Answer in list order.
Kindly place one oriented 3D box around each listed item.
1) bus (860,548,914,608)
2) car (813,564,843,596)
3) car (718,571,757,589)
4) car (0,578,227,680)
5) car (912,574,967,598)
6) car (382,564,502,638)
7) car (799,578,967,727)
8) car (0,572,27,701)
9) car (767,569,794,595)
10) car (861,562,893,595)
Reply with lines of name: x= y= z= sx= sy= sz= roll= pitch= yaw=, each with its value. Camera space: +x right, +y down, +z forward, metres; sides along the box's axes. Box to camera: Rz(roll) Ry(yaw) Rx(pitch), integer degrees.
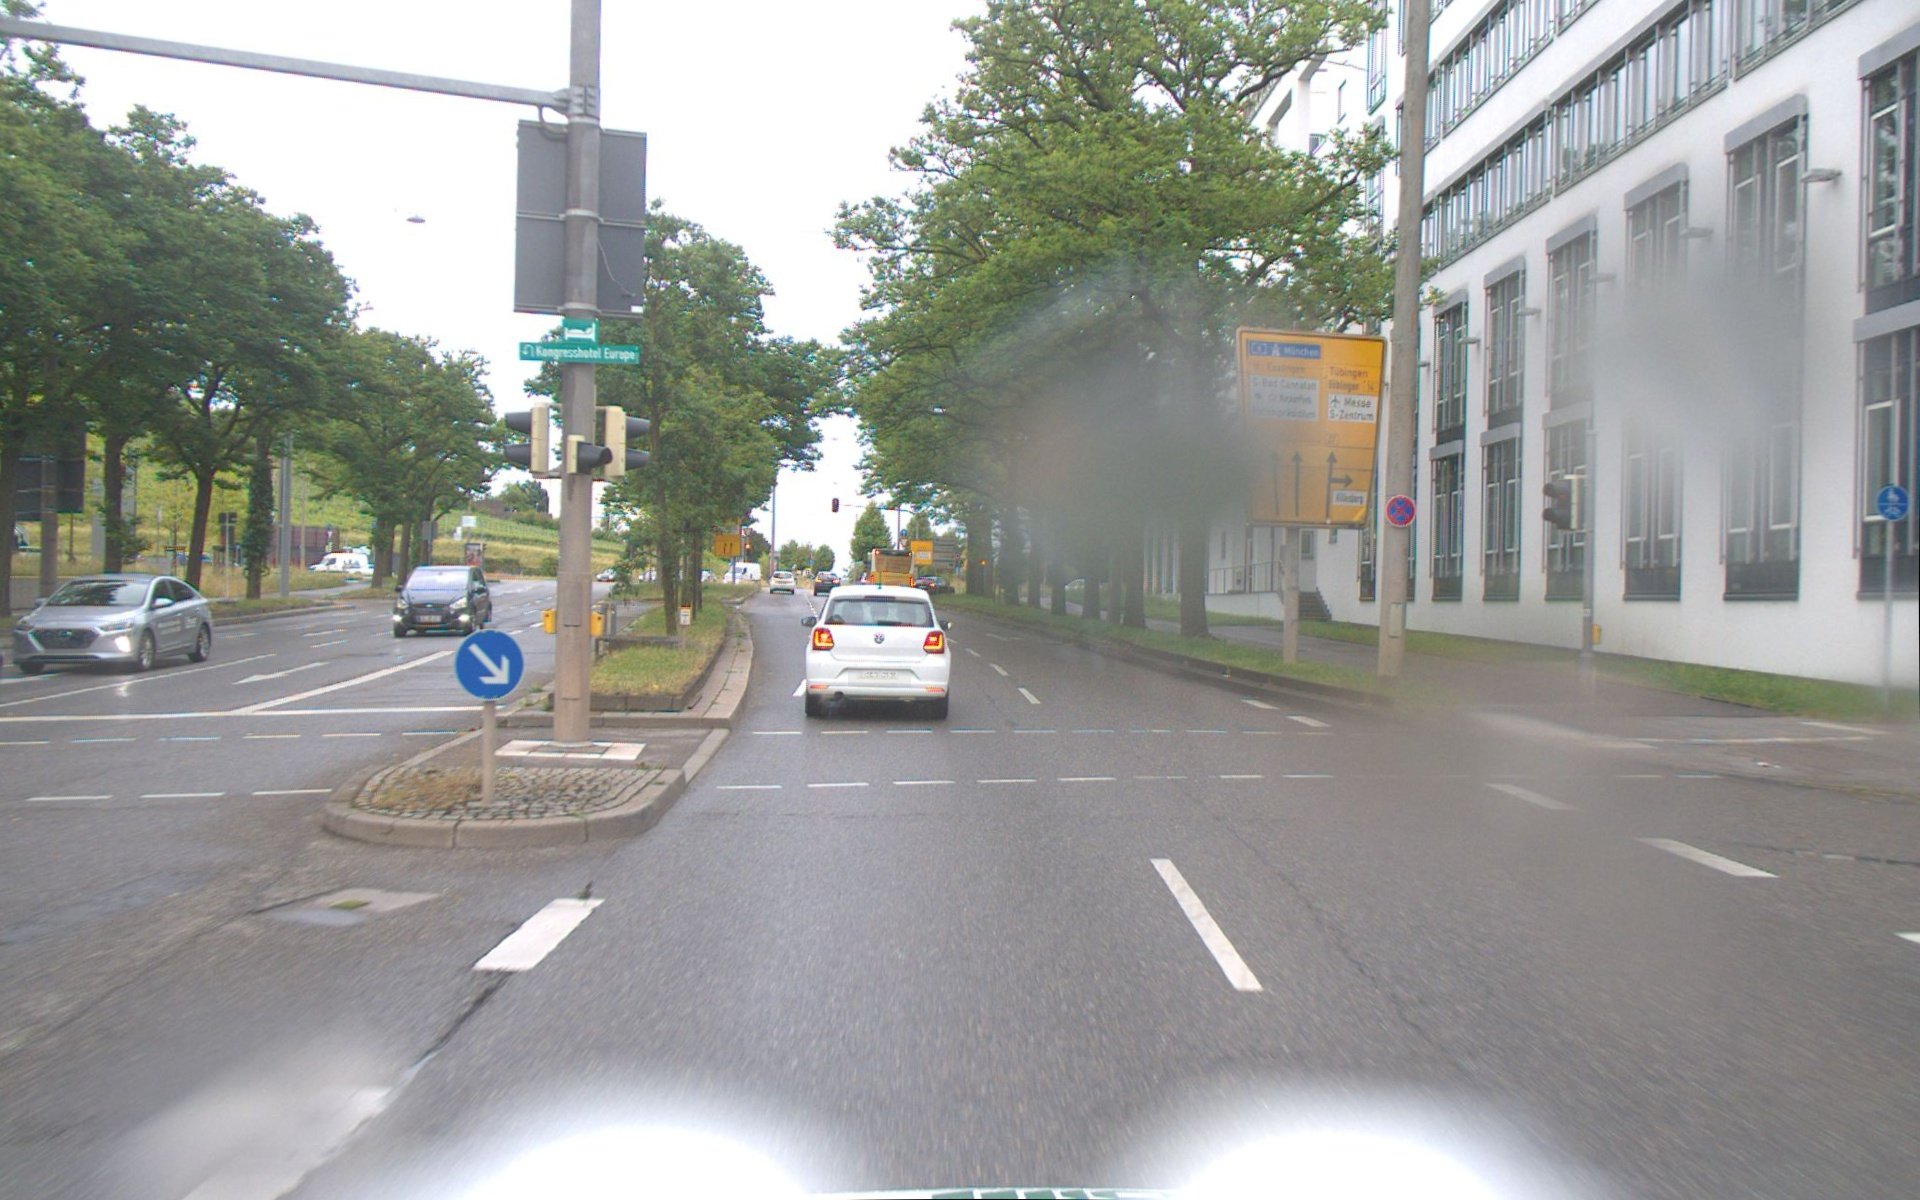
bus: x=-4.462 y=-1.326 z=99.057 sx=2.773 sy=3.323 sz=9.991 roll=2 pitch=1 yaw=-5
car: x=-8.883 y=-1.322 z=111.392 sx=1.954 sy=2.049 sz=3.996 roll=1 pitch=0 yaw=-5
car: x=-25.632 y=-2.335 z=190.850 sx=1.953 sy=2.049 sz=5.710 roll=1 pitch=1 yaw=22
car: x=-13.205 y=0.387 z=26.026 sx=1.780 sy=1.436 sz=4.648 roll=-1 pitch=1 yaw=-7
car: x=-1.383 y=-0.938 z=111.533 sx=1.669 sy=1.542 sz=3.807 roll=0 pitch=0 yaw=40
car: x=-12.455 y=-0.025 z=40.089 sx=1.956 sy=1.644 sz=5.111 roll=-1 pitch=1 yaw=-8
car: x=-0.949 y=0.543 z=19.819 sx=1.759 sy=1.528 sz=3.997 roll=2 pitch=1 yaw=-4
car: x=-12.223 y=0.455 z=18.581 sx=1.717 sy=1.547 sz=3.811 roll=0 pitch=1 yaw=-8
car: x=-12.214 y=-1.223 z=112.857 sx=1.759 sy=1.772 sz=3.995 roll=0 pitch=0 yaw=-6
car: x=-5.371 y=-1.374 z=106.831 sx=1.954 sy=2.049 sz=3.996 roll=1 pitch=0 yaw=-5
